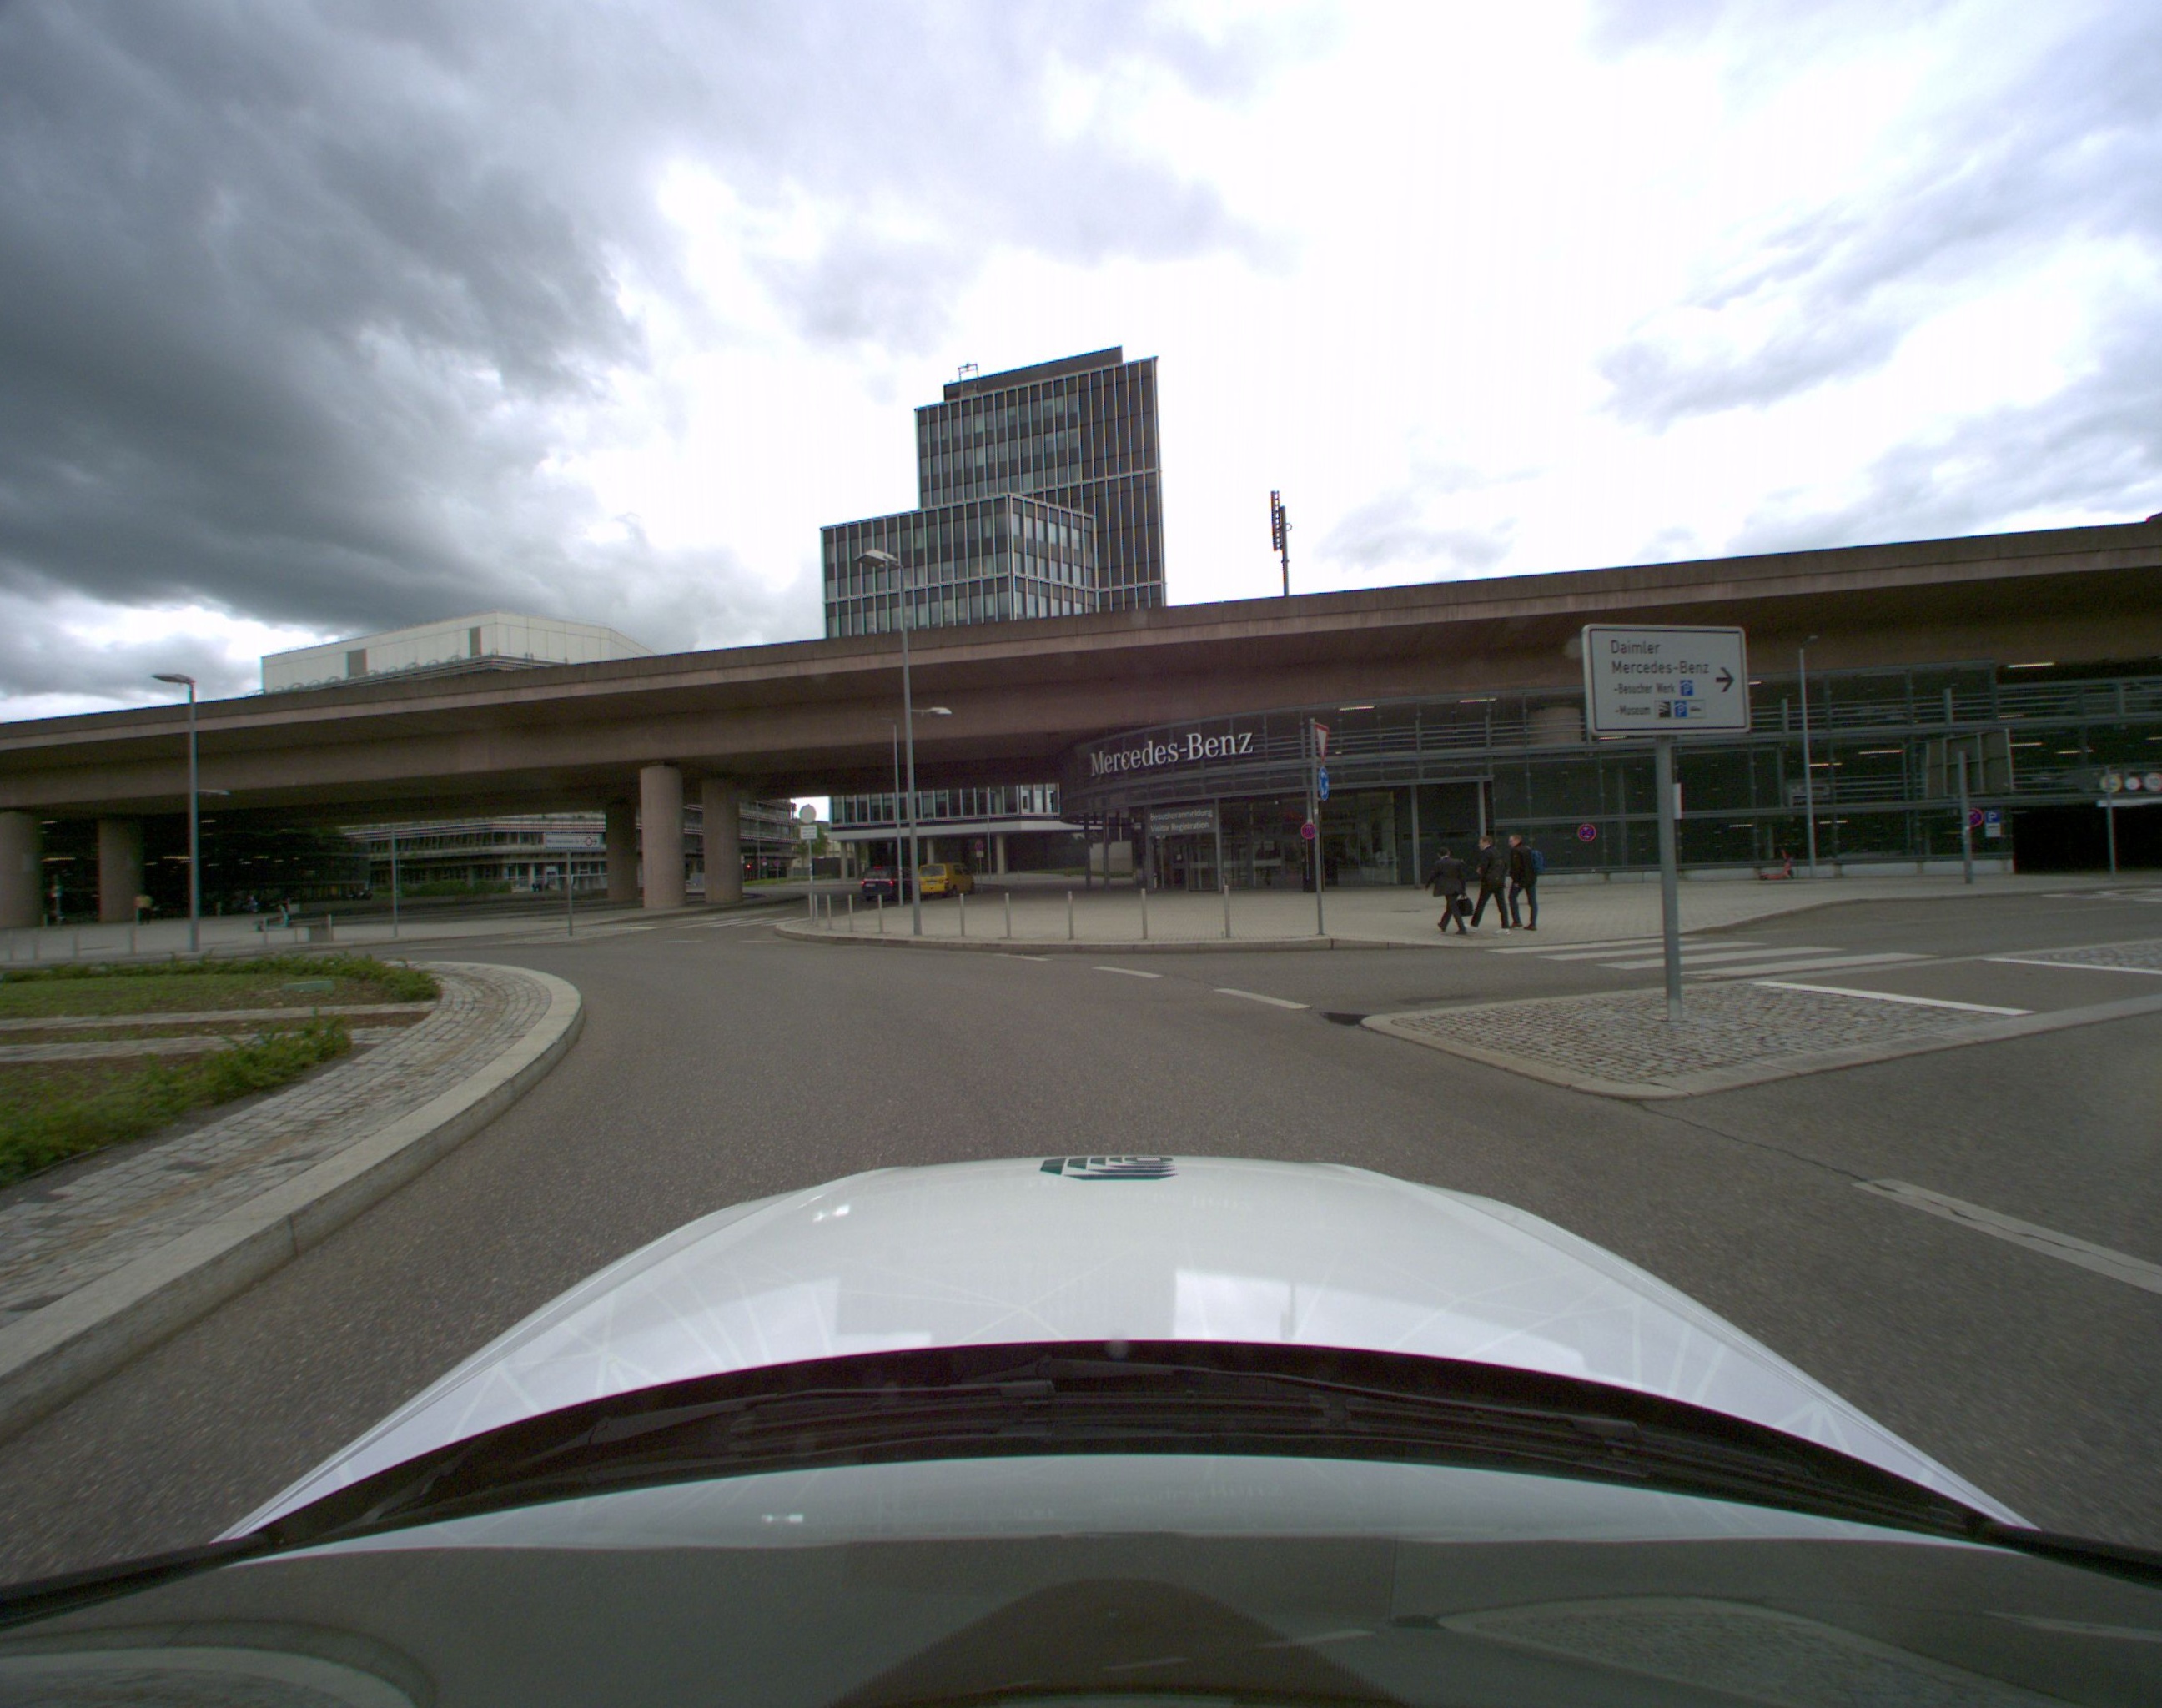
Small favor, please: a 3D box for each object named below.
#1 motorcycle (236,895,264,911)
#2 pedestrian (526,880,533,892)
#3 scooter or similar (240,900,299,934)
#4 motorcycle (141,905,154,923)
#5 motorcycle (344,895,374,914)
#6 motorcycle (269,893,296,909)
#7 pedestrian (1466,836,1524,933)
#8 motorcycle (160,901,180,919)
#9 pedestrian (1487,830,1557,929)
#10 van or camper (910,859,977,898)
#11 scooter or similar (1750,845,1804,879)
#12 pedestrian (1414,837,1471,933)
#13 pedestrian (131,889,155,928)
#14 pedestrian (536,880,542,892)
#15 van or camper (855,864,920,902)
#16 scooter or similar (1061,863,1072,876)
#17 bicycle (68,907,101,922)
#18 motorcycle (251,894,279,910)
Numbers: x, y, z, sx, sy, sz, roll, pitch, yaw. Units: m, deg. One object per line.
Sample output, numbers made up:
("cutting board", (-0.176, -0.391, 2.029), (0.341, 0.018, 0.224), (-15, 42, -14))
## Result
("motorcycle", (-67.685, 4.001, 66.303), (2.056, 1.220, 0.677), (-1, 0, 16))
("pedestrian", (-68.688, 4.015, 101.378), (0.496, 1.481, 0.542), (-1, 0, -15))
("scooter or similar", (-34.092, 2.636, 34.214), (0.512, 1.296, 1.660), (-1, 0, 31))
("motorcycle", (-69.009, 4.411, 60.223), (0.525, 1.220, 1.136), (-1, 0, -43))
("motorcycle", (-52.117, 3.643, 58.776), (0.545, 1.264, 1.937), (-1, 0, -5))
("motorcycle", (-67.199, 3.958, 68.560), (2.056, 1.220, 0.677), (-1, 0, 16))
("pedestrian", (7.447, 0.537, 14.683), (0.778, 1.705, 0.776), (-1, 0, 17))
("motorcycle", (-68.985, 4.247, 61.663), (2.052, 1.220, 0.838), (-1, 0, 38))
("pedestrian", (8.323, 0.470, 15.391), (0.860, 1.798, 0.782), (-1, 0, -2))
("van or camper", (-7.713, 1.349, 46.167), (2.340, 1.999, 4.518), (-1, 0, 10))
("scooter or similar", (23.913, 0.267, 27.994), (1.415, 1.123, 0.382), (-1, 0, 8))
("pedestrian", (6.600, 0.551, 14.912), (0.856, 1.705, 0.776), (-1, 0, 18))
("pedestrian", (-50.374, 2.925, 43.718), (1.026, 2.013, 0.789), (-1, 0, 40))
("pedestrian", (-66.880, 3.954, 100.450), (0.496, 1.481, 0.542), (-1, 0, -15))
("van or camper", (-10.824, 1.585, 46.006), (2.137, 1.893, 4.907), (-1, 0, 4))
("scooter or similar", (-1.290, 1.393, 71.806), (0.699, 1.105, 1.494), (-1, 0, -13))
("bicycle", (-73.203, 4.466, 59.830), (0.446, 0.976, 1.486), (-1, 0, 42))
("motorcycle", (-67.430, 3.944, 67.287), (2.056, 1.286, 0.677), (-1, 0, 16))
